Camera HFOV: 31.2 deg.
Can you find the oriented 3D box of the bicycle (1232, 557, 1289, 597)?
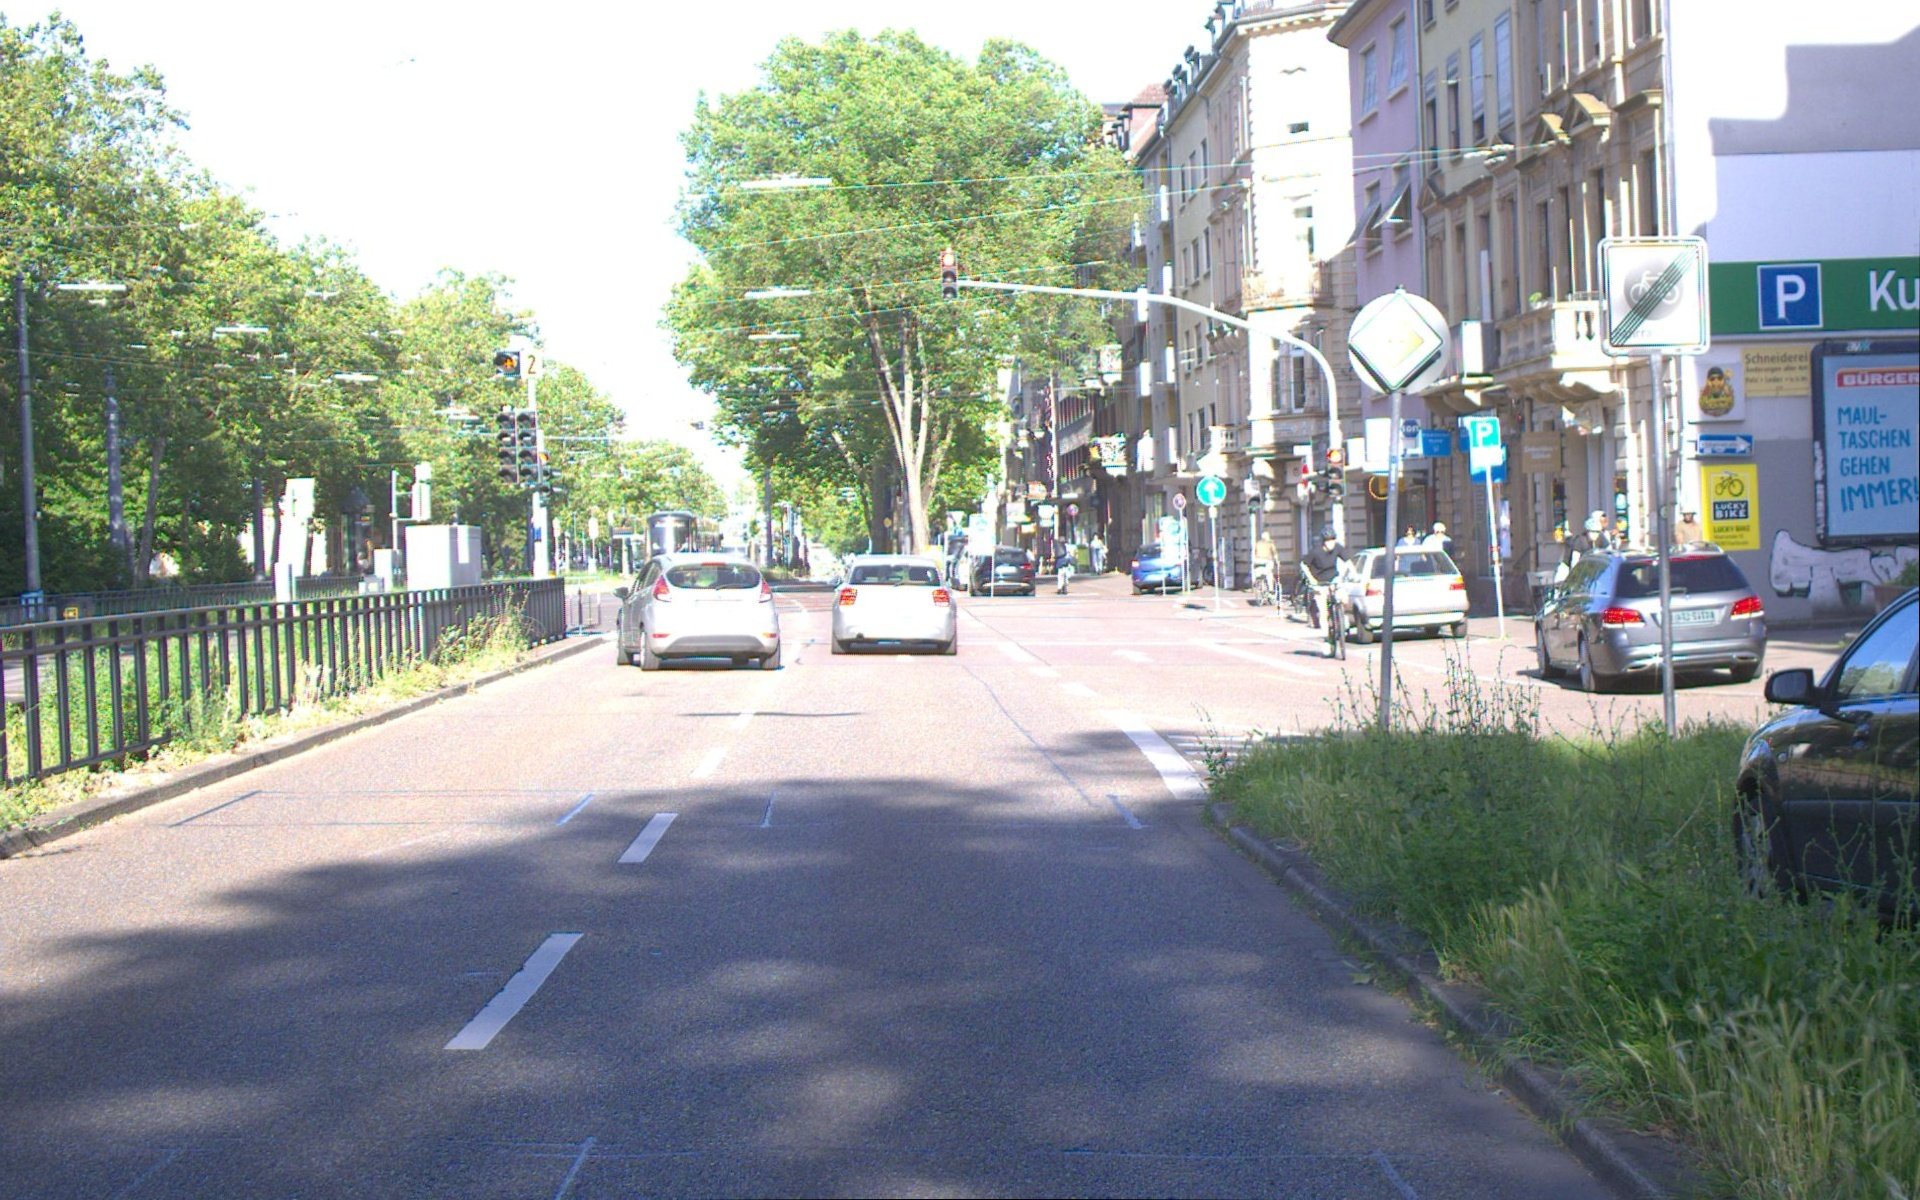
[{"bbox_3d":[6.906,-0.523,78.977,0.654,0.900,1.335,0,1,41],"label":"bicycle"}]

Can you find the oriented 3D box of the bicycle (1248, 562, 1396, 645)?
[{"bbox_3d":[4.935,0.047,46.964,0.757,1.098,1.952,-2,1,-44],"label":"bicycle"}]

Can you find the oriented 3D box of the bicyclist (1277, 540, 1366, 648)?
[{"bbox_3d":[4.937,-0.089,46.981,0.951,1.457,0.745,0,0,44],"label":"bicyclist"}]

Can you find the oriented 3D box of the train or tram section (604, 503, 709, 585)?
[{"bbox_3d":[-15.128,-2.804,172.745,3.969,3.852,17.489,-1,1,-1],"label":"train or tram section"}]

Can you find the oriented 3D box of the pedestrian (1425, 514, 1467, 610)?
[{"bbox_3d":[9.190,-0.715,65.066,0.673,1.800,0.530,-1,1,-1],"label":"pedestrian"}]

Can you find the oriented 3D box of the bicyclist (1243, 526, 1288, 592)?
[{"bbox_3d":[7.017,-0.939,78.854,0.548,1.497,0.959,-1,1,40],"label":"bicyclist"}]

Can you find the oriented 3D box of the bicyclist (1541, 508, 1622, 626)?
[{"bbox_3d":[7.945,-0.427,43.994,0.676,1.441,1.182,-5,1,-1],"label":"bicyclist"}]

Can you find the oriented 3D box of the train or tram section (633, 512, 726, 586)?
[{"bbox_3d":[-15.413,-2.838,190.256,4.005,3.852,17.489,-1,1,-1],"label":"train or tram section"}]

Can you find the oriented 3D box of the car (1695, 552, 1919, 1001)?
[{"bbox_3d":[4.018,0.600,12.433,1.640,1.512,4.001,1,1,-3],"label":"car"}]

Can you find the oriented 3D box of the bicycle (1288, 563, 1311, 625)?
[{"bbox_3d":[6.462,-0.122,65.527,0.414,1.137,1.809,-1,1,5],"label":"bicycle"}]

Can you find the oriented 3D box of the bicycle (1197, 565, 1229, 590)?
[{"bbox_3d":[7.857,-0.702,106.734,0.754,0.768,1.945,-1,1,-2],"label":"bicycle"}]

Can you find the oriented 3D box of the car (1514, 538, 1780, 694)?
[{"bbox_3d":[7.408,0.128,37.533,1.833,1.482,4.734,-4,1,0],"label":"car"}]

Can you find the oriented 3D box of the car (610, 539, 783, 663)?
[{"bbox_3d":[-3.347,-0.015,43.139,1.609,1.462,3.891,-1,1,-12],"label":"car"}]

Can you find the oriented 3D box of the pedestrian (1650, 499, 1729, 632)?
[{"bbox_3d":[10.195,-0.484,48.079,0.760,1.835,0.748,-2,1,-20],"label":"pedestrian"}]

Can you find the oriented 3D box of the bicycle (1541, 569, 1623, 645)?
[{"bbox_3d":[7.949,0.083,43.991,0.649,0.917,1.918,-1,1,-1],"label":"bicycle"}]

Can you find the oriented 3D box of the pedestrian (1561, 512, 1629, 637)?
[{"bbox_3d":[9.035,-0.367,48.899,0.760,1.749,0.513,-2,1,-21],"label":"pedestrian"}]

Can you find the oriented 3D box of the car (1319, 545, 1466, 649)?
[{"bbox_3d":[6.576,-0.079,52.636,1.562,1.411,4.004,-5,1,-1],"label":"car"}]

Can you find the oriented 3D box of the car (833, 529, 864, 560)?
[{"bbox_3d":[-7.657,-3.806,235.873,1.993,2.007,4.000,-2,1,-1],"label":"car"}]

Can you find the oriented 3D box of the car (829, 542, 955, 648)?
[{"bbox_3d":[-0.995,-0.104,49.768,1.740,1.462,4.000,0,1,-1],"label":"car"}]

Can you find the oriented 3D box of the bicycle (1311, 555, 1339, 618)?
[{"bbox_3d":[6.915,-0.262,65.163,0.448,1.155,1.758,-1,1,5],"label":"bicycle"}]

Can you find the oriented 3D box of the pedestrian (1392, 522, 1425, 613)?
[{"bbox_3d":[8.503,-0.623,65.196,0.549,1.702,0.388,-1,1,2],"label":"pedestrian"}]

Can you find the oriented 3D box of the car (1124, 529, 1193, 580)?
[{"bbox_3d":[5.954,-1.370,103.486,1.735,1.514,3.637,0,1,-2],"label":"car"}]

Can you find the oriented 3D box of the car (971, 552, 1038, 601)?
[{"bbox_3d":[1.289,-0.702,100.595,1.735,1.428,3.678,0,1,-2],"label":"car"}]
